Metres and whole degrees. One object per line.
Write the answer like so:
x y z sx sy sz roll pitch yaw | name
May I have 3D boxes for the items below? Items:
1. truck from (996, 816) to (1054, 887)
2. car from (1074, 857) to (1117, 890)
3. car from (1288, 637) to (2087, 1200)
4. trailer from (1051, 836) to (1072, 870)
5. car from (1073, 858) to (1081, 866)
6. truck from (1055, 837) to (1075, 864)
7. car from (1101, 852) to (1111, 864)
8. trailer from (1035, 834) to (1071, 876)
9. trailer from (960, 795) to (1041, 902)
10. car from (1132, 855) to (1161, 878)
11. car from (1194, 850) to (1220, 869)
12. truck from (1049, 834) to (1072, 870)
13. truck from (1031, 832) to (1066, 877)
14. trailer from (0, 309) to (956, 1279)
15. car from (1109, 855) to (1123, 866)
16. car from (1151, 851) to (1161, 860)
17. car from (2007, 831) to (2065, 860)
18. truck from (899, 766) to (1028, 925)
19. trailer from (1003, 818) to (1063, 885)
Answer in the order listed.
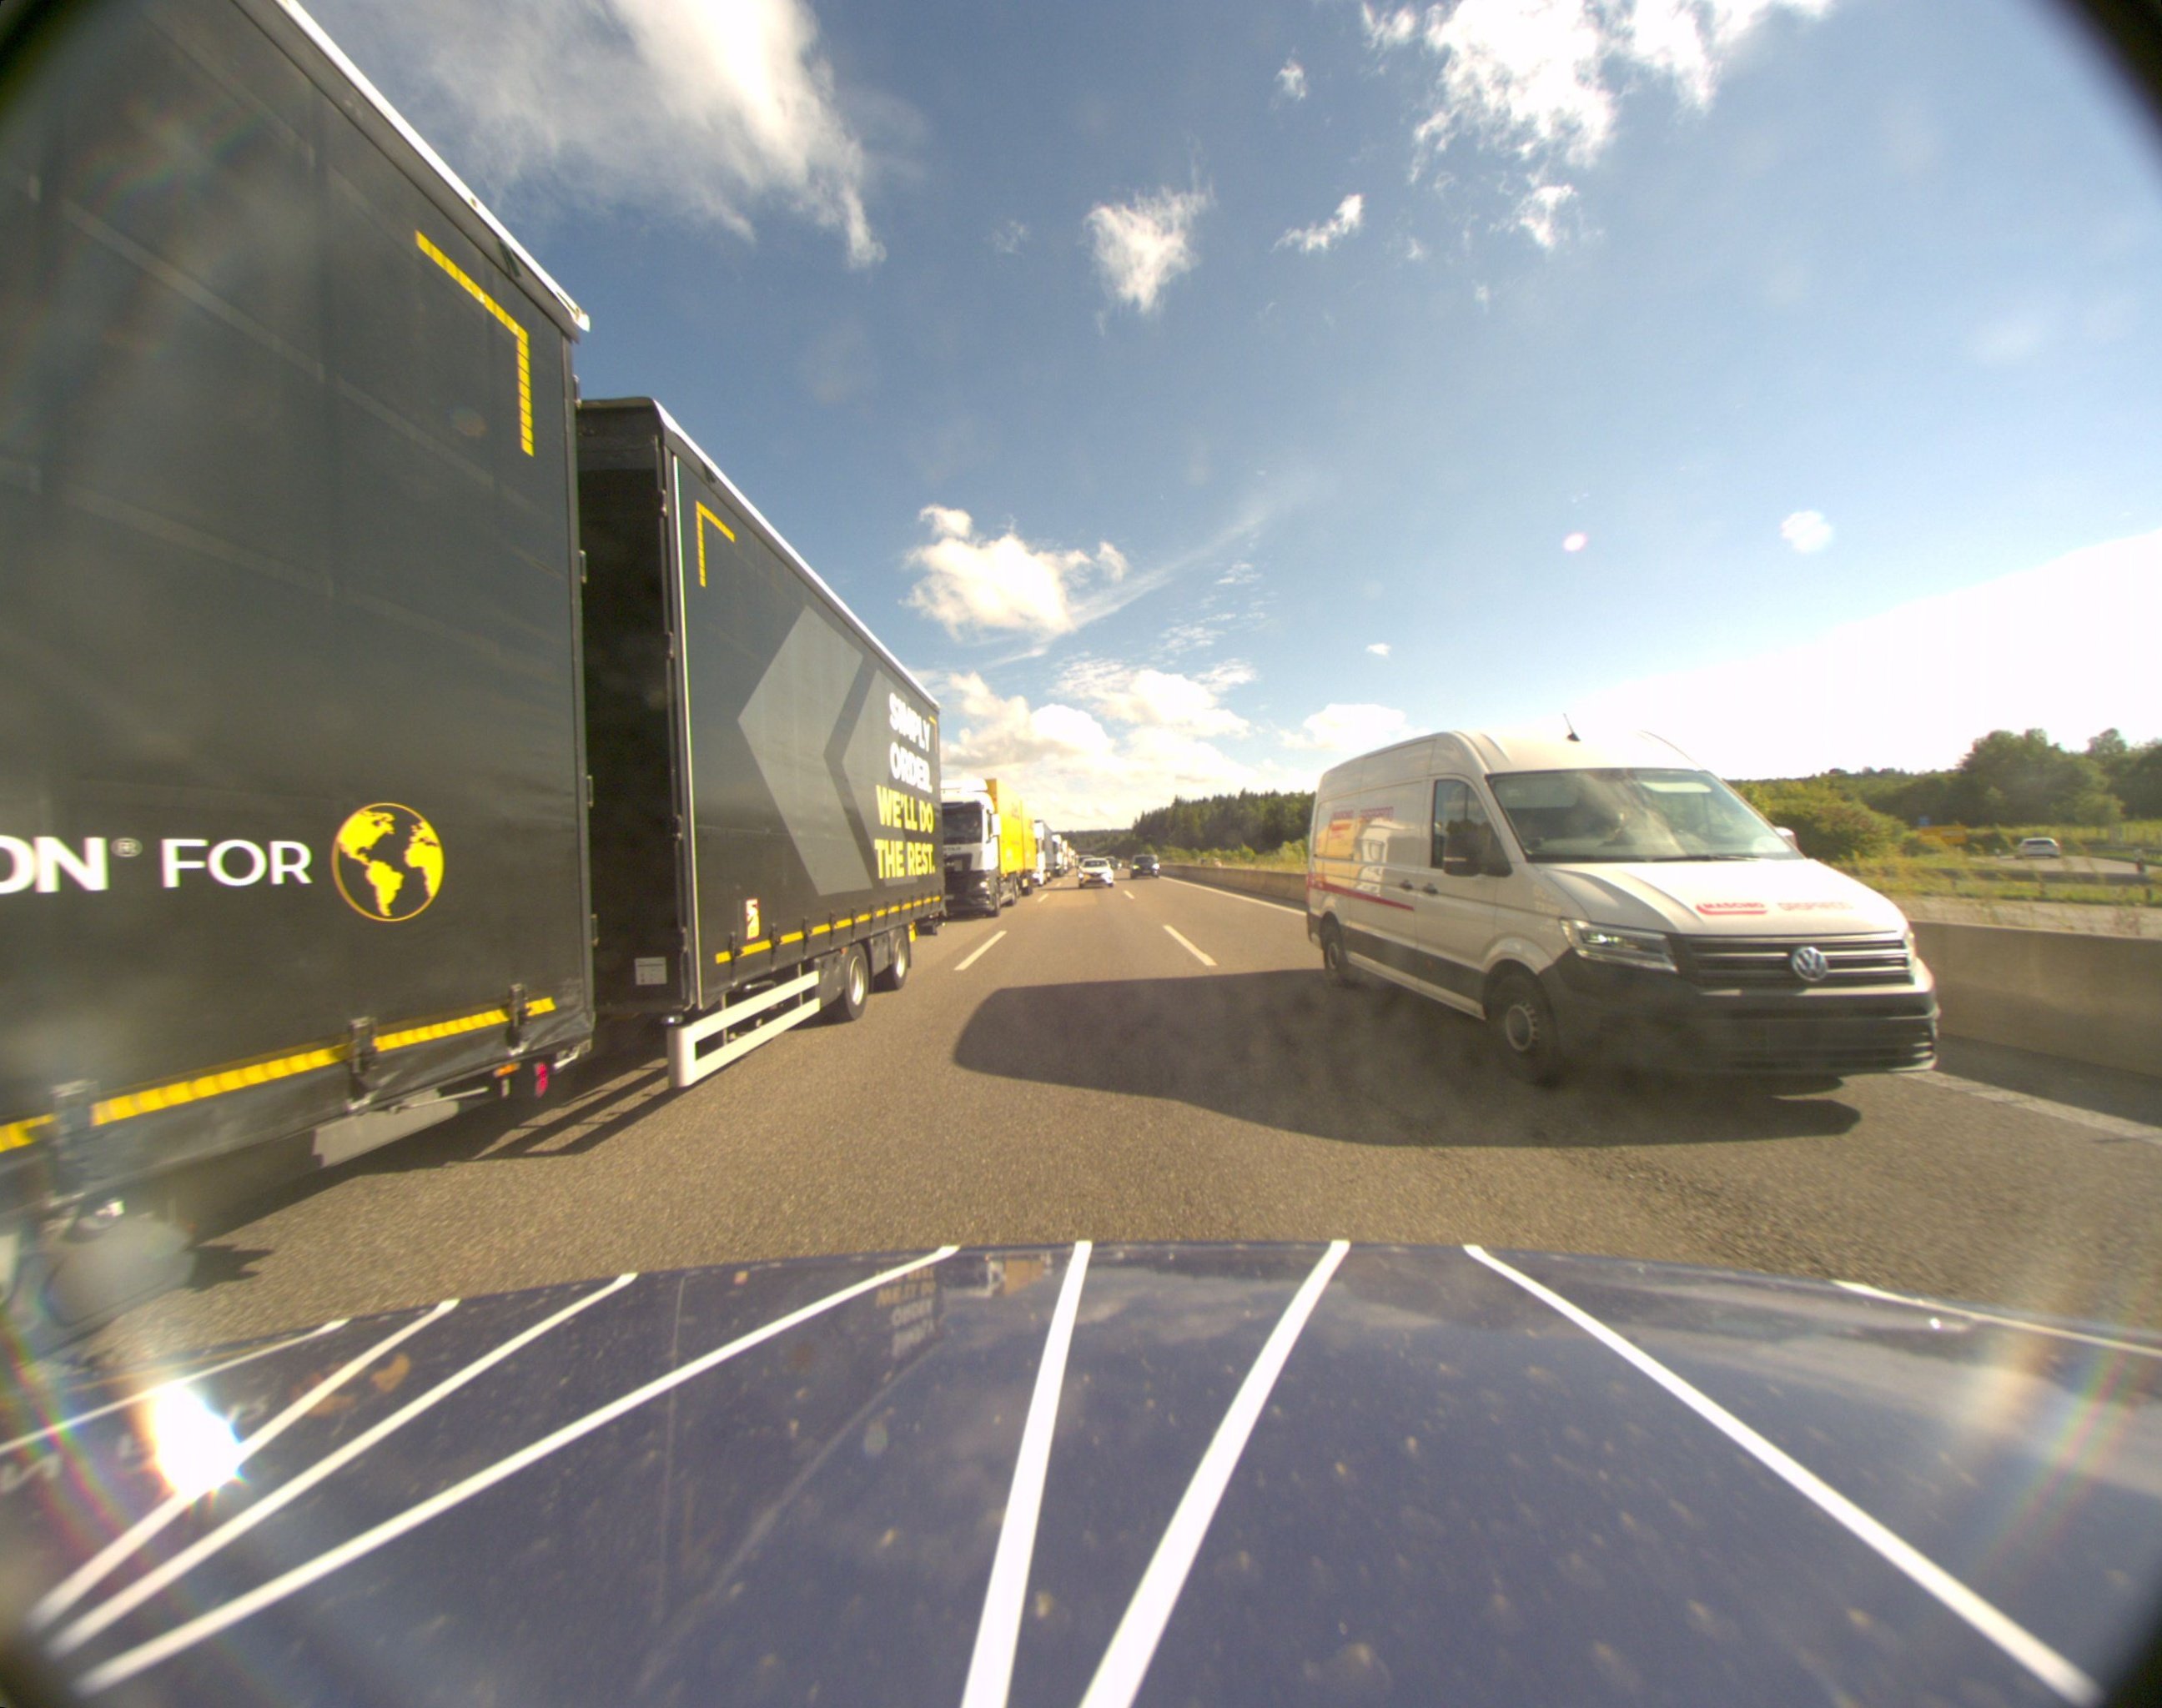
-3.440 -0.138 48.320 2.654 4.065 6.492 -3 0 3 | truck
0.793 0.991 40.182 2.026 1.510 5.299 -4 0 2 | car
3.682 0.331 6.644 2.020 2.583 6.182 -2 0 0 | car
-2.433 -0.009 97.770 2.334 3.973 14.300 -2 -1 0 | trailer
-1.073 2.208 207.269 2.129 2.030 4.697 0 0 2 | car
-2.496 -0.537 119.003 2.634 3.959 5.956 -3 0 1 | truck
4.274 0.672 130.399 1.779 1.923 4.215 0 -1 1 | car
-2.803 0.273 79.008 2.652 3.910 11.179 -4 -2 2 | trailer
-3.371 -0.203 34.185 2.418 4.044 8.926 -3 0 0 | trailer
4.559 0.825 53.475 1.779 1.533 4.158 0 0 1 | car
12.174 0.496 73.648 1.820 1.684 4.251 -2 0 0 | car
-2.401 -0.193 90.715 2.371 3.996 6.107 -3 -1 0 | truck
-3.038 0.178 72.428 2.655 3.900 6.945 -3 -2 1 | truck
-3.449 -0.213 7.558 2.723 3.937 8.711 -3 0 0 | trailer
4.787 0.856 104.029 1.779 1.451 4.158 0 0 1 | car
21.136 0.428 214.550 2.038 2.563 7.321 -3 0 0 | car
69.180 -0.621 55.116 1.995 1.789 4.986 -3 1 45 | car
-3.449 -0.210 24.884 2.418 4.044 9.664 -3 0 0 | truck
-3.164 -0.193 54.626 2.648 4.074 13.981 -3 0 2 | trailer
